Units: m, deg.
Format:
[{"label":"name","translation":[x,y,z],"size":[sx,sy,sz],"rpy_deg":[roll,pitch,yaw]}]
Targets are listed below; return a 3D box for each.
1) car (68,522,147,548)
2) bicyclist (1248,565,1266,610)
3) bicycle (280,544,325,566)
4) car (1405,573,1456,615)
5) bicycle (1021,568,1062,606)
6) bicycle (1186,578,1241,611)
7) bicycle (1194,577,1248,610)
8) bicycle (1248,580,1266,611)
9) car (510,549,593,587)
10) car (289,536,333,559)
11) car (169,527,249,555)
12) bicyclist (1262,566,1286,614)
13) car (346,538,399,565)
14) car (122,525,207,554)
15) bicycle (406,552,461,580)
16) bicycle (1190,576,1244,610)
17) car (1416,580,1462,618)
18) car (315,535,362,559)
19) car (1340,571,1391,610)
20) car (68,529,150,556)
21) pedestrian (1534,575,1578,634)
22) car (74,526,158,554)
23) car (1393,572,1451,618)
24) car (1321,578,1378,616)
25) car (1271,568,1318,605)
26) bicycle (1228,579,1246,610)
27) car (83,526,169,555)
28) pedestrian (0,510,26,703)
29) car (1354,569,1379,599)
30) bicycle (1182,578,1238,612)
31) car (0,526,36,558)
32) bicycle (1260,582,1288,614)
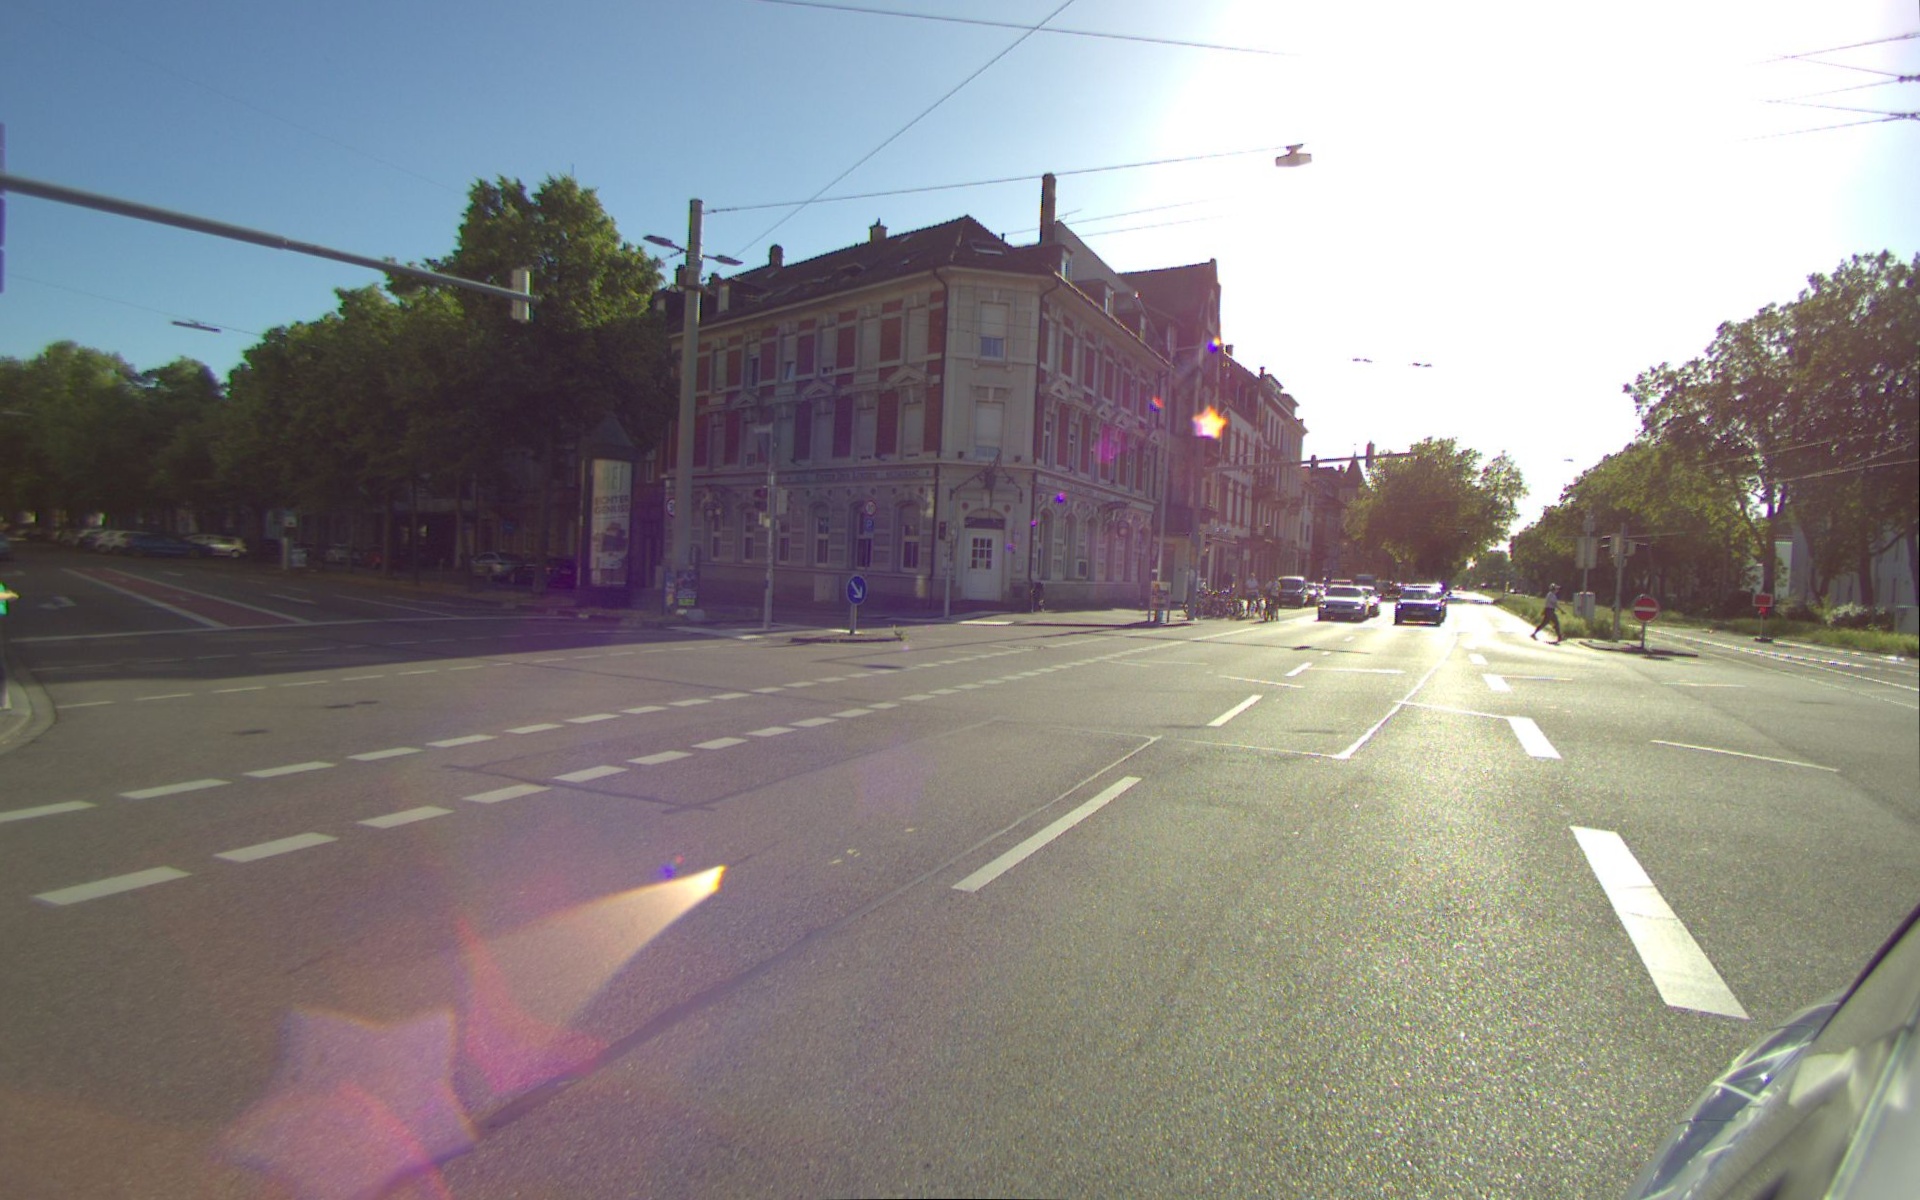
[{"label":"car","translation":[-58.337,-4.426,69.326],"size":[3.923,1.564,2.001],"rpy_deg":[1,3,-35]},{"label":"bicyclist","translation":[12.099,-0.508,41.211],"size":[0.593,1.785,0.902],"rpy_deg":[3,2,15]},{"label":"bicycle","translation":[-34.420,-2.347,52.992],"size":[1.909,1.080,0.585],"rpy_deg":[2,2,-9]},{"label":"car","translation":[21.305,-0.310,45.751],"size":[1.936,1.688,3.964],"rpy_deg":[4,3,26]},{"label":"bicycle","translation":[2.776,-0.446,34.287],"size":[0.542,1.205,1.945],"rpy_deg":[4,3,32]},{"label":"bicycle","translation":[9.936,-0.229,39.705],"size":[1.950,1.205,0.672],"rpy_deg":[4,2,29]},{"label":"bicycle","translation":[10.539,-0.264,40.878],"size":[1.950,1.205,0.672],"rpy_deg":[4,2,29]},{"label":"bicycle","translation":[12.085,-0.201,41.240],"size":[0.593,1.205,1.958],"rpy_deg":[3,2,15]},{"label":"car","translation":[-18.903,-1.491,46.770],"size":[4.020,1.515,1.970],"rpy_deg":[5,3,42]},{"label":"car","translation":[-49.160,-3.986,76.635],"size":[1.968,1.515,4.024],"rpy_deg":[0,3,-45]},{"label":"car","translation":[-47.981,-3.765,64.748],"size":[3.921,1.564,2.002],"rpy_deg":[1,3,-32]},{"label":"bicyclist","translation":[12.124,-0.392,39.067],"size":[0.596,1.785,0.866],"rpy_deg":[4,2,30]},{"label":"car","translation":[-37.683,-3.114,64.838],"size":[1.968,1.515,4.024],"rpy_deg":[0,3,-45]},{"label":"car","translation":[-48.359,-3.661,61.606],"size":[3.923,1.564,2.001],"rpy_deg":[1,3,-35]},{"label":"bicycle","translation":[-21.771,-1.419,41.857],"size":[1.909,1.080,0.585],"rpy_deg":[2,2,-9]},{"label":"bicycle","translation":[10.231,-0.289,40.281],"size":[1.950,1.205,0.672],"rpy_deg":[4,2,29]},{"label":"car","translation":[24.116,-0.087,50.885],"size":[1.936,1.688,4.446],"rpy_deg":[4,3,26]},{"label":"car","translation":[-43.904,-3.733,71.498],"size":[1.968,1.515,4.024],"rpy_deg":[0,3,-45]},{"label":"car","translation":[19.503,-0.471,48.591],"size":[1.936,1.688,3.964],"rpy_deg":[4,3,26]},{"label":"car","translation":[-55.667,-3.777,66.310],"size":[3.923,1.564,2.001],"rpy_deg":[1,3,-35]},{"label":"pedestrian","translation":[17.627,0.116,29.943],"size":[0.928,1.690,0.713],"rpy_deg":[3,2,20]},{"label":"car","translation":[-53.736,-3.832,64.501],"size":[3.923,1.564,2.001],"rpy_deg":[1,3,-35]},{"label":"car","translation":[18.737,-0.246,40.933],"size":[1.936,1.688,3.964],"rpy_deg":[4,3,26]},{"label":"car","translation":[16.361,-0.181,42.398],"size":[1.828,1.429,3.964],"rpy_deg":[4,3,26]},{"label":"car","translation":[19.670,-0.825,59.432],"size":[1.936,1.989,4.379],"rpy_deg":[4,3,26]},{"label":"bicycle","translation":[11.445,-0.252,41.796],"size":[0.670,1.205,1.958],"rpy_deg":[3,2,15]},{"label":"car","translation":[-51.573,-3.682,62.687],"size":[3.923,1.564,2.001],"rpy_deg":[1,3,-35]},{"label":"pedestrian","translation":[-8.603,0.036,8.764],"size":[0.576,1.662,0.667],"rpy_deg":[4,2,41]},{"label":"car","translation":[42.810,-1.704,106.711],"size":[2.176,2.944,5.919],"rpy_deg":[3,3,20]},{"label":"bicycle","translation":[9.643,-0.211,39.069],"size":[1.950,1.205,0.672],"rpy_deg":[4,2,29]},{"label":"car","translation":[-49.690,-3.059,52.681],"size":[4.020,1.515,1.970],"rpy_deg":[5,3,42]},{"label":"bicycle","translation":[12.146,-0.092,39.129],"size":[0.596,1.205,1.947],"rpy_deg":[4,3,29]}]
